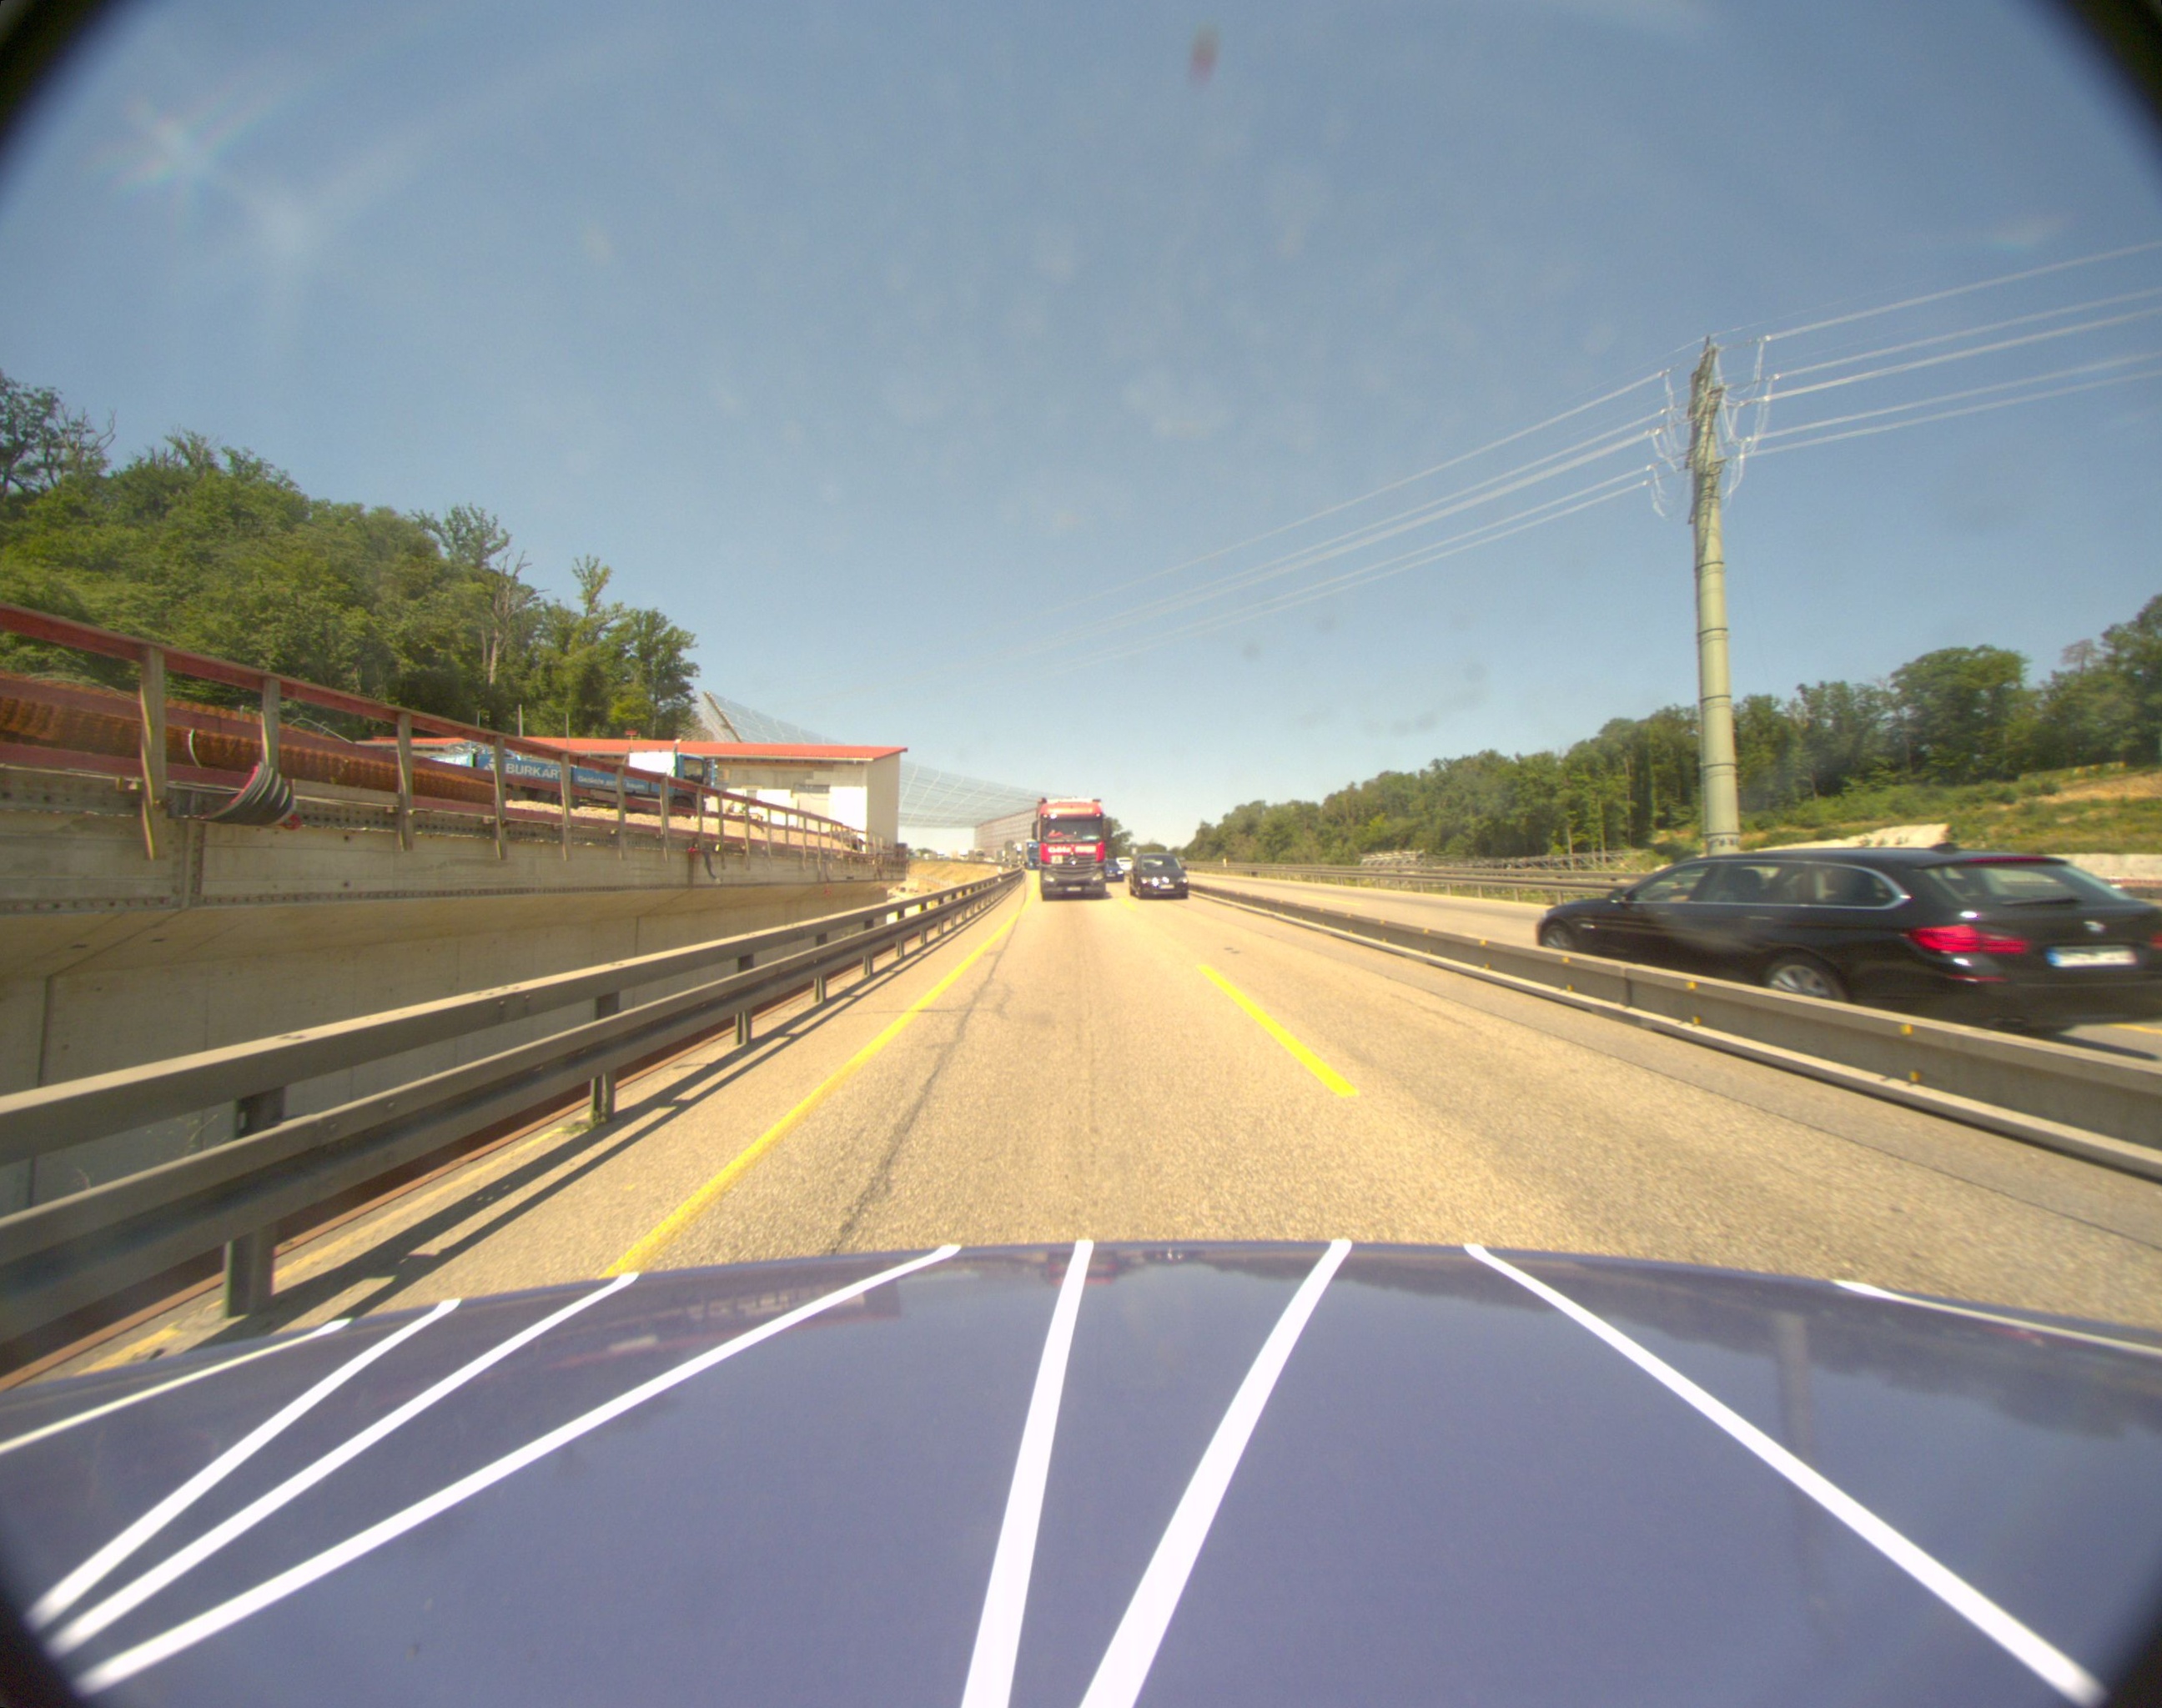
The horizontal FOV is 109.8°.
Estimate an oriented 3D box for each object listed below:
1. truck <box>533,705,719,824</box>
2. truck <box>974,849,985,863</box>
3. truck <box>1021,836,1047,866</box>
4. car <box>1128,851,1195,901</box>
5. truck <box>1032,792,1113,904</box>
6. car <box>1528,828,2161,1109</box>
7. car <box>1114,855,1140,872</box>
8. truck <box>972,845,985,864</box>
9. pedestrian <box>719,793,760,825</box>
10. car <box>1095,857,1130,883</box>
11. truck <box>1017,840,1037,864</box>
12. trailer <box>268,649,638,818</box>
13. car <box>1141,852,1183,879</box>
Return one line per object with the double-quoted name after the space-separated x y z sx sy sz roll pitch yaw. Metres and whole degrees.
-17.466 -3.245 29.597 2.713 3.671 5.722 -1 -2 22 "truck"
-30.663 0.430 228.664 3.043 4.033 8.667 -2 1 -9 "truck"
-6.822 -0.421 108.436 2.673 3.986 10.420 -2 1 -8 "truck"
3.002 0.812 29.414 1.861 1.695 5.303 -2 -1 -1 "car"
-0.468 -0.294 32.910 2.799 3.986 10.426 -2 1 -2 "truck"
6.475 0.644 6.927 1.998 1.630 4.853 -2 1 1 "car"
4.291 0.908 71.427 1.917 1.478 4.476 -2 0 -3 "car"
-26.800 0.153 198.340 3.043 4.778 8.934 -2 1 -9 "truck"
-13.177 -1.722 29.339 1.022 1.144 0.994 -2 1 4 "pedestrian"
1.974 0.999 49.144 1.896 1.546 4.785 -2 -1 -2 "car"
-9.867 -0.390 137.209 2.911 4.207 9.233 -2 1 -8 "truck"
-19.423 -3.379 24.597 2.713 3.671 9.013 -1 -2 22 "trailer"
5.443 0.727 51.402 1.917 1.695 4.734 -2 0 -5 "car"
